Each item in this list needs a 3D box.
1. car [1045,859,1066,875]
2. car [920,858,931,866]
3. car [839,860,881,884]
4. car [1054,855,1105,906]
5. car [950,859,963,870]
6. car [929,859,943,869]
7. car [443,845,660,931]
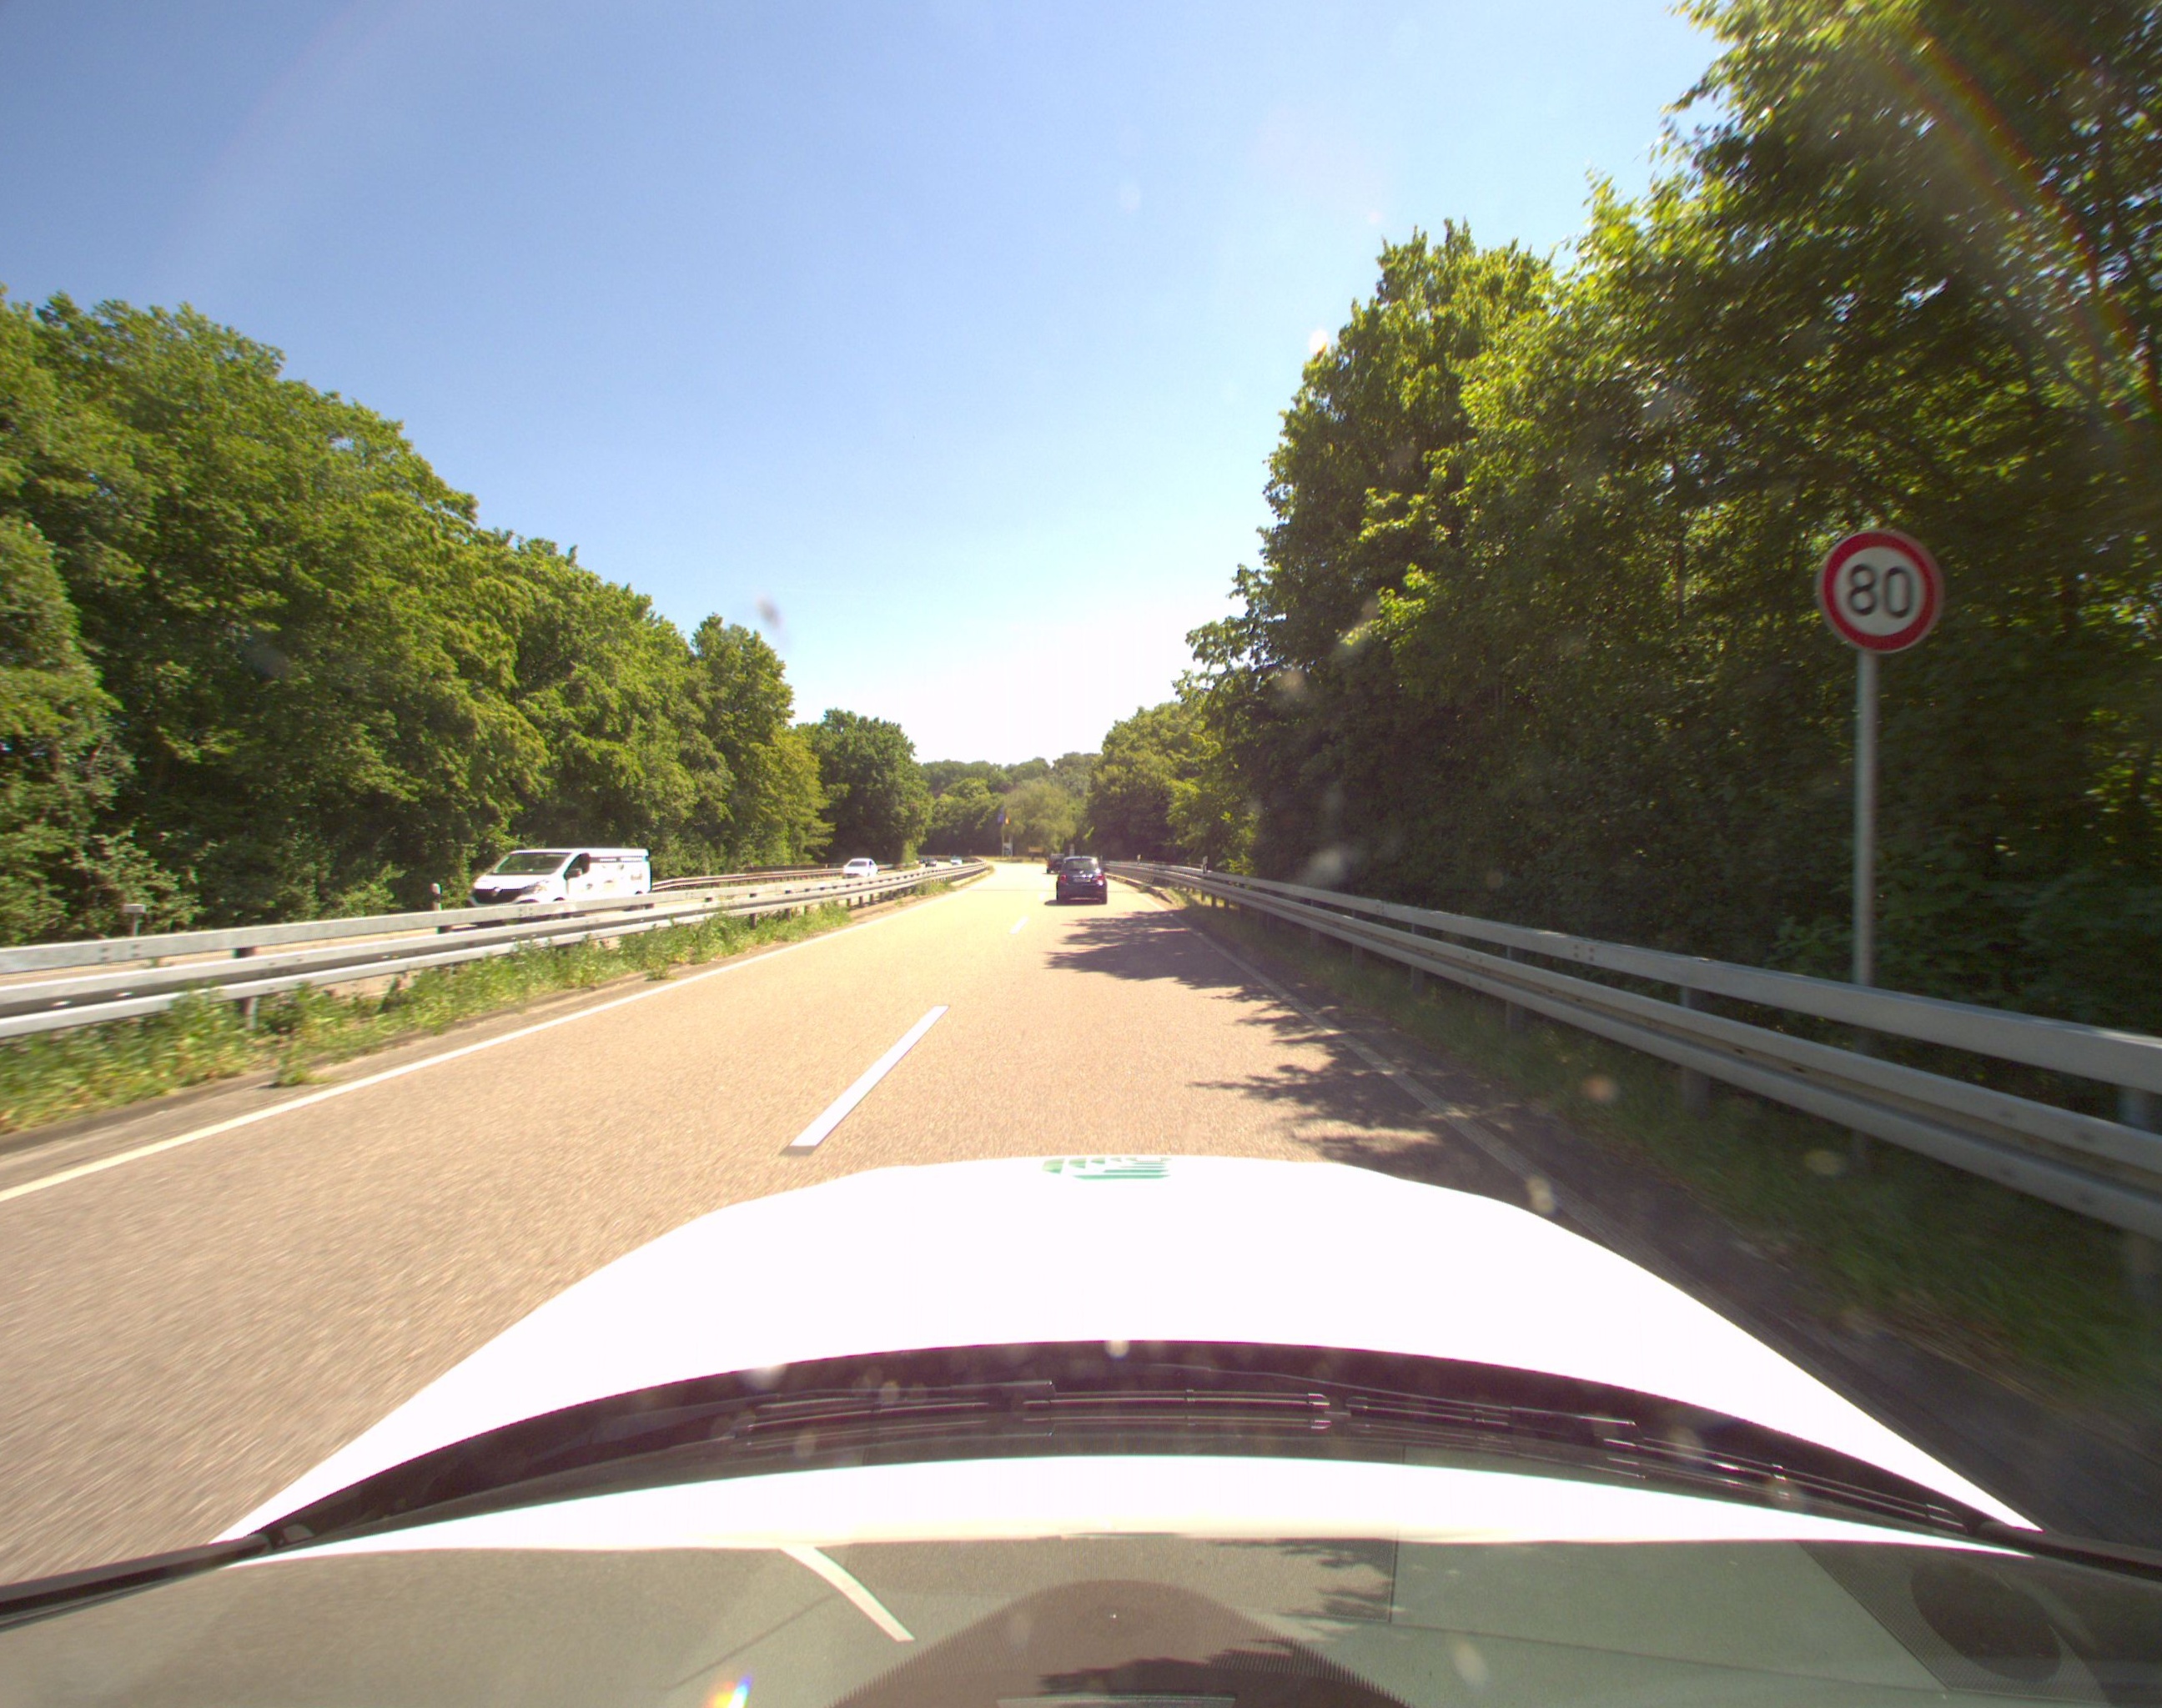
[{"bbox_3d":[-2.176,1.112,69.335,1.523,1.313,3.408,-1,0,-6],"label":"car"},{"bbox_3d":[-33.405,1.703,175.044,1.752,1.528,4.676,-1,0,-4],"label":"car"},{"bbox_3d":[-14.531,1.148,53.639,1.646,1.447,4.217,-1,0,-1],"label":"car"},{"bbox_3d":[0.004,0.809,26.566,1.507,1.501,3.592,-1,0,2],"label":"car"},{"bbox_3d":[-18.630,1.539,122.128,1.648,1.606,4.213,-1,0,-4],"label":"car"},{"bbox_3d":[-22.702,1.500,127.722,1.648,1.528,3.992,-1,0,-4],"label":"car"},{"bbox_3d":[-13.597,0.786,21.487,1.982,1.951,5.640,-1,0,0],"label":"car"}]
